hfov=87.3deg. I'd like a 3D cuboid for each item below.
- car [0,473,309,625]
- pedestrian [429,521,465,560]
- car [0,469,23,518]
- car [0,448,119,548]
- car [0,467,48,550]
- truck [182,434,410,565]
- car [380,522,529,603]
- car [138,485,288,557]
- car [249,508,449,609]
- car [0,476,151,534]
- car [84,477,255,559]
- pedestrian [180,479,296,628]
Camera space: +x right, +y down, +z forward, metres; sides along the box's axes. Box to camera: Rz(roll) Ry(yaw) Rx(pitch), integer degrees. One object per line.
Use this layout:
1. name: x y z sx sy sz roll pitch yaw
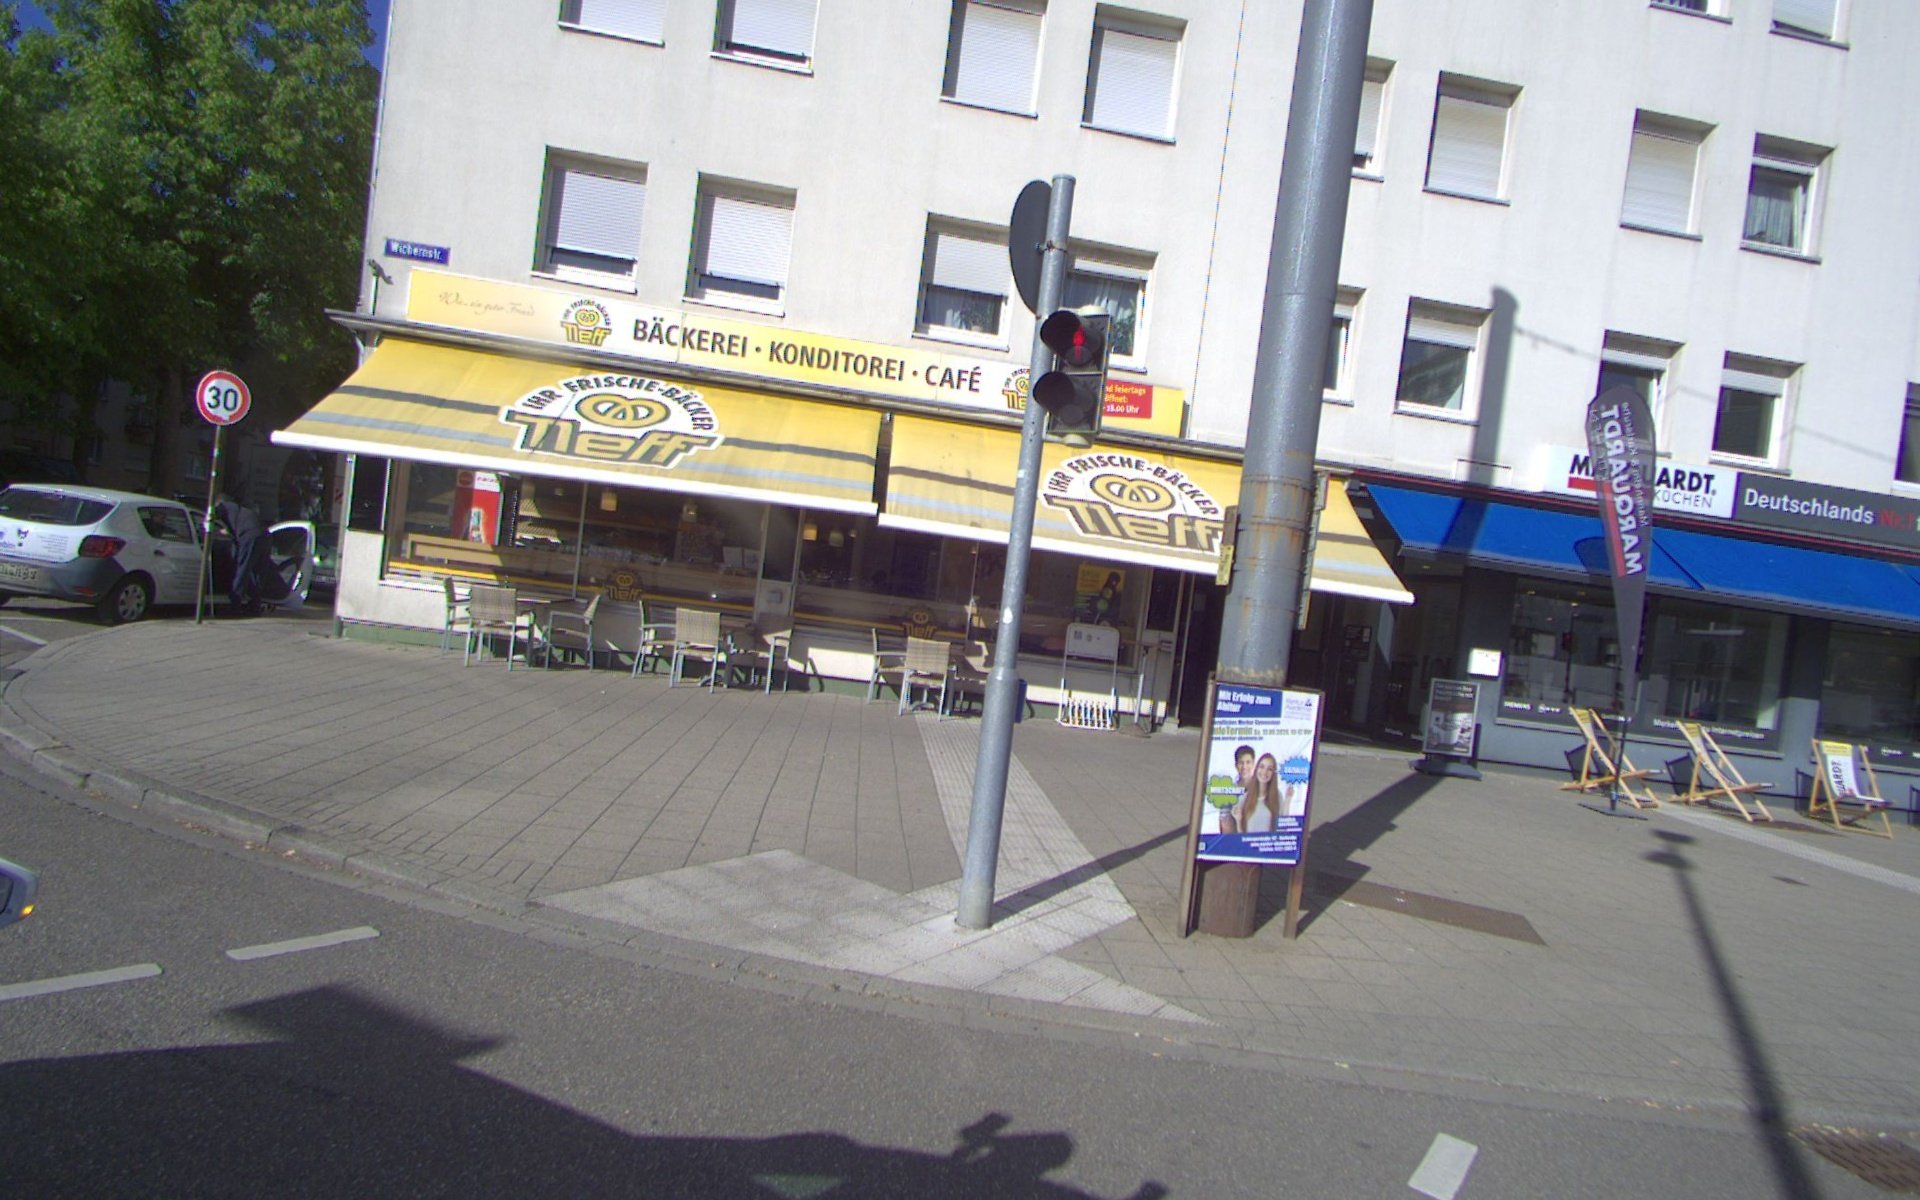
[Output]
1. car: -10.411 -0.626 12.839 1.694 1.516 4.018 7 1 -5
2. pedestrian: -20.466 -2.379 40.143 0.740 1.414 0.927 8 1 26
3. car: -30.512 -3.424 29.712 1.738 1.453 4.338 7 0 -5
4. car: -21.642 -2.441 23.105 4.424 1.897 1.933 8 1 28
5. car: -19.877 -1.991 19.496 3.754 1.499 1.760 8 1 23
6. truck: -21.239 -3.219 32.109 7.195 3.336 2.544 7 1 26
7. car: -11.565 -0.845 23.364 1.778 1.481 4.430 7 0 -10
8. car: -22.011 -2.337 29.605 4.268 1.526 1.811 8 1 28
9. car: -11.127 -0.716 18.631 1.573 1.481 3.668 7 0 -5
10. car: -27.159 -2.859 30.752 1.739 1.311 4.405 5 0 -9
11. car: -20.326 -2.107 25.843 4.268 1.526 1.811 8 1 28
12. pedestrian: -9.055 -0.567 12.645 0.747 1.744 0.745 7 2 0
